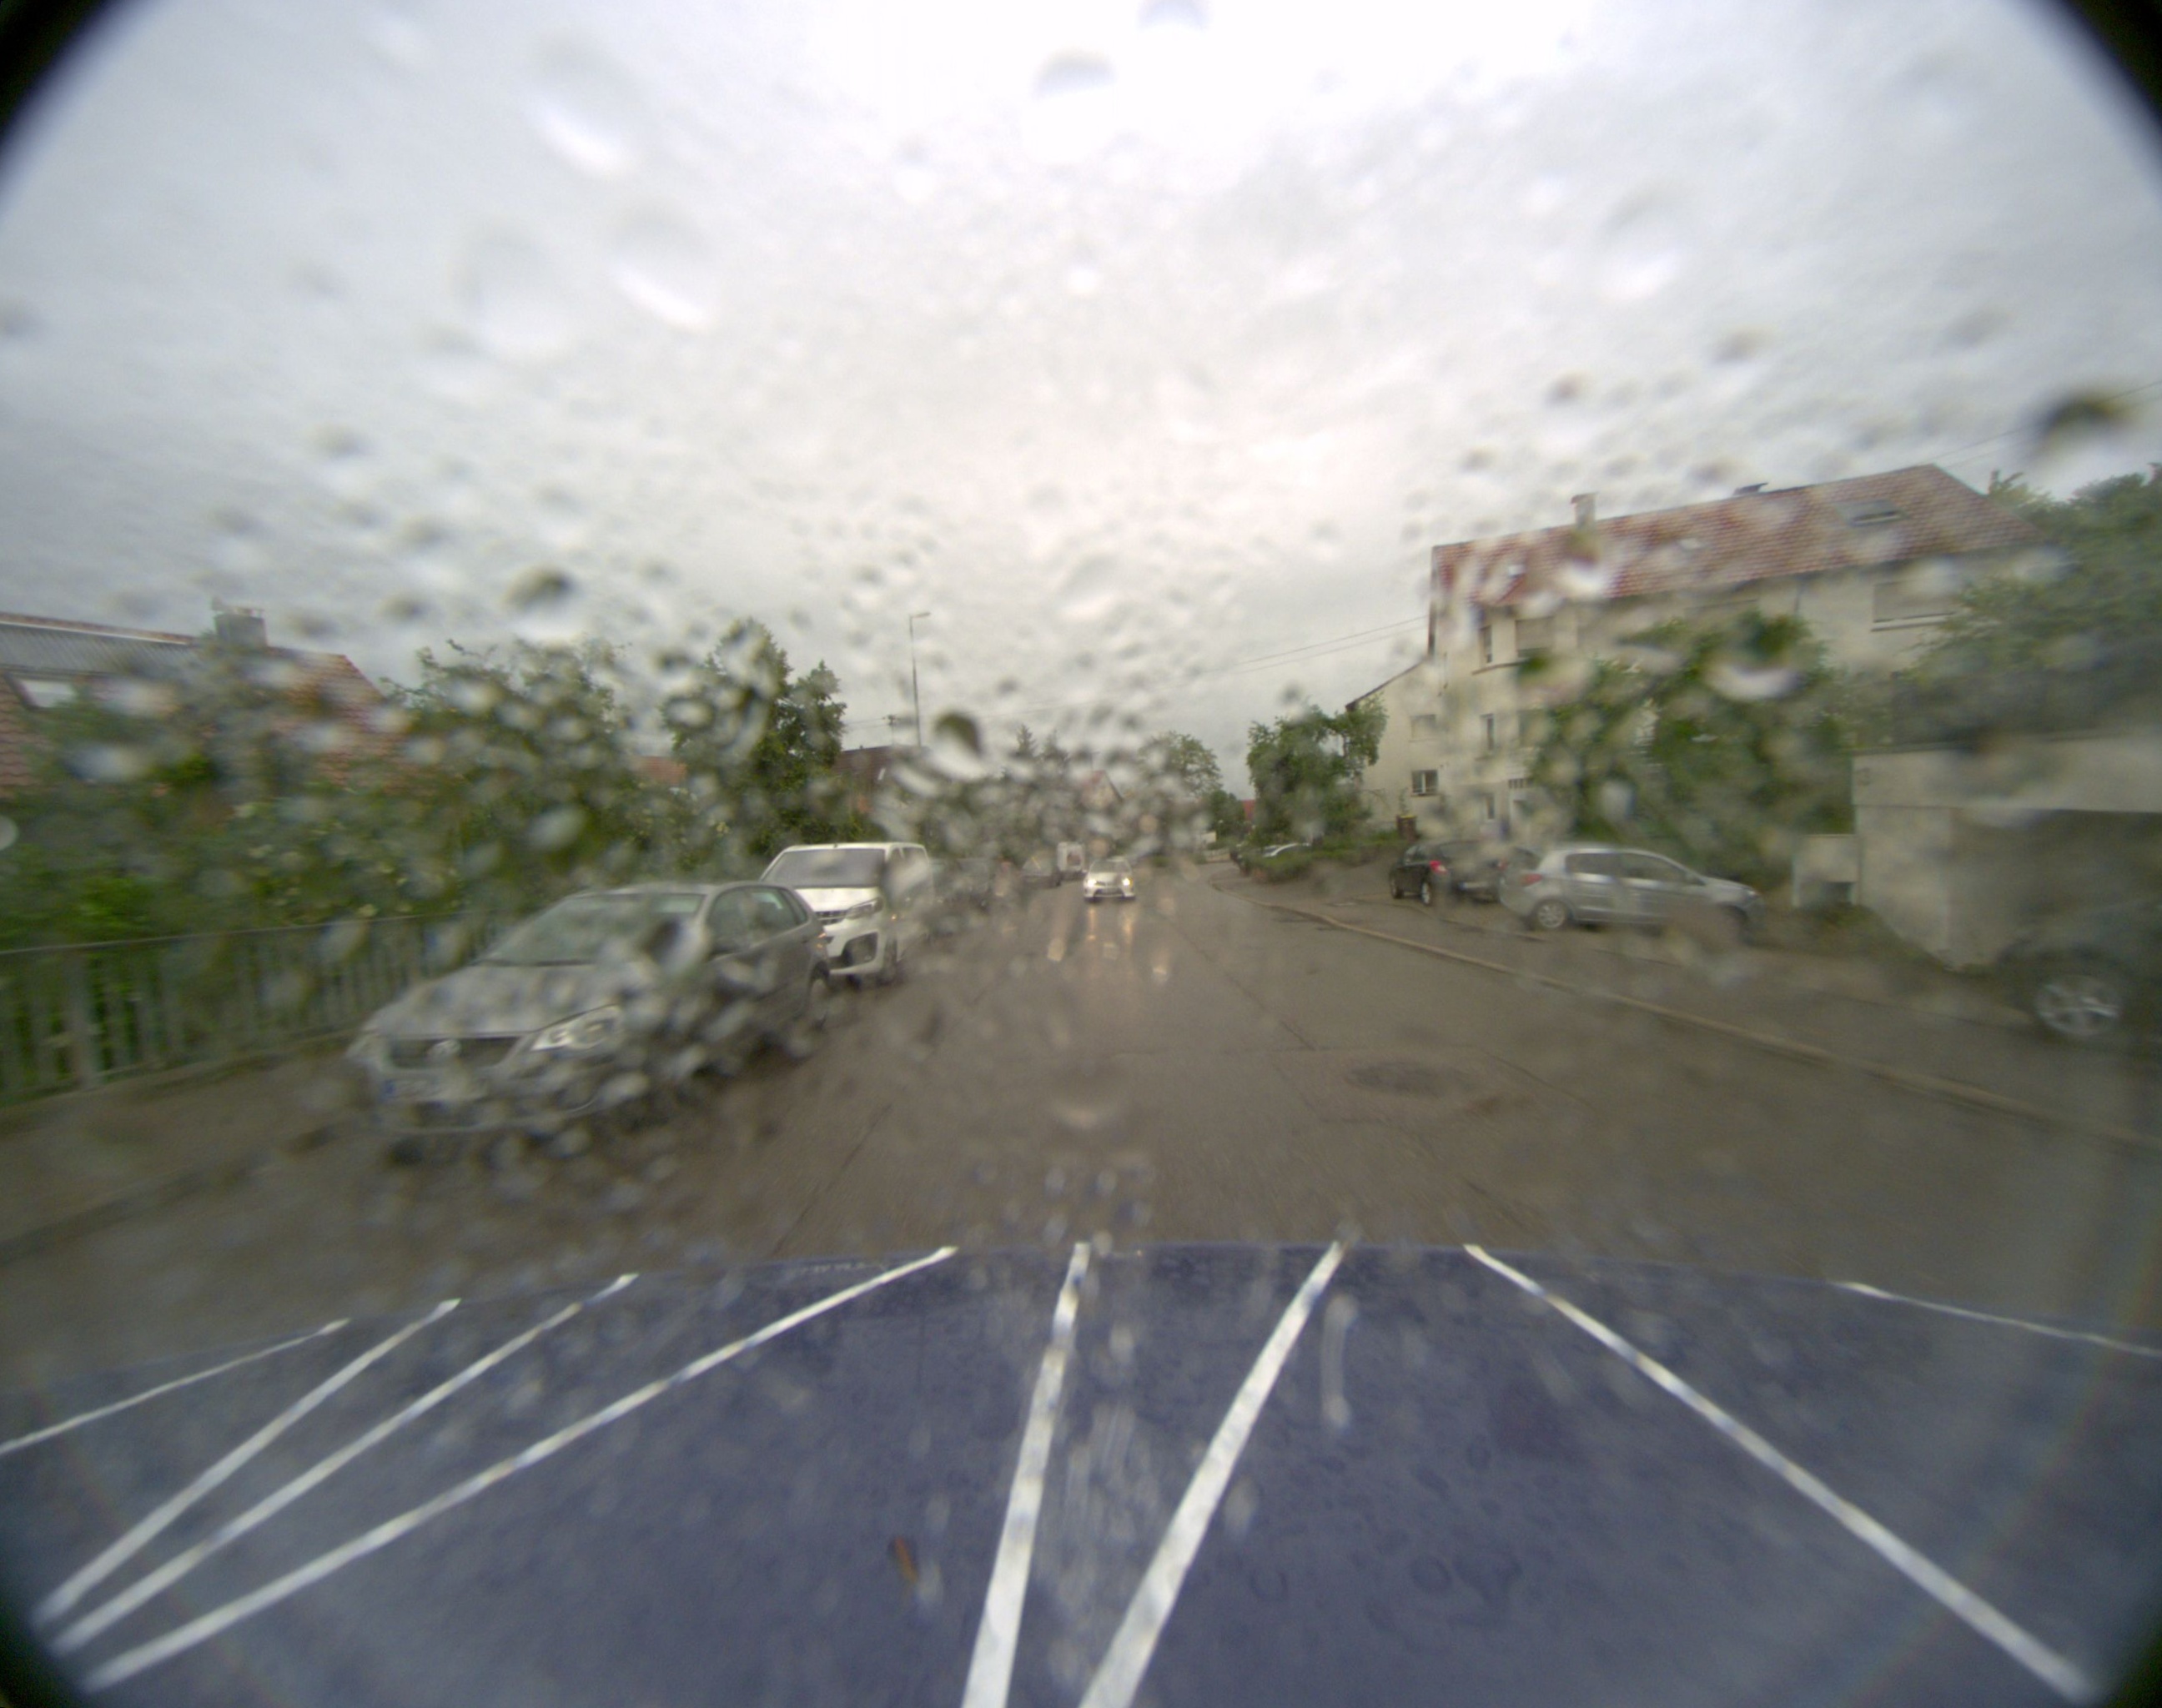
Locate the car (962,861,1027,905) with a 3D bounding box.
[{"bbox_3d":[-3.090,1.019,27.946,1.739,1.406,3.852,-1,1,3],"label":"car"}]

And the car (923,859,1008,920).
[{"bbox_3d":[-3.293,0.955,22.626,1.820,1.498,4.723,-1,1,-1],"label":"car"}]

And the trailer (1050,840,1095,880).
[{"bbox_3d":[-0.481,0.337,50.372,1.952,2.442,5.438,-1,1,10],"label":"trailer"}]

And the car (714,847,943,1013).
[{"bbox_3d":[-3.375,0.861,11.279,1.854,1.871,4.909,-1,1,-2],"label":"car"}]

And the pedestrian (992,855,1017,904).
[{"bbox_3d":[-2.566,0.849,25.554,0.718,1.625,0.707,-2,1,2],"label":"pedestrian"}]

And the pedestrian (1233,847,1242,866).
[{"bbox_3d":[13.962,0.204,67.803,0.657,1.639,0.733,-2,-1,12],"label":"pedestrian"}]

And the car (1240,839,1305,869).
[{"bbox_3d":[14.467,0.013,57.354,4.517,1.604,1.934,-8,-1,15],"label":"car"}]

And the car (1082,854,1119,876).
[{"bbox_3d":[1.481,0.799,56.164,1.750,1.416,4.708,-1,1,13],"label":"car"}]

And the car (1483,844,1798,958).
[{"bbox_3d":[9.240,0.708,12.941,3.831,1.469,1.805,4,2,15],"label":"car"}]

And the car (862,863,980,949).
[{"bbox_3d":[-3.418,1.043,16.999,1.649,1.532,4.353,-1,1,0],"label":"car"}]

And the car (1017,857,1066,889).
[{"bbox_3d":[-1.978,0.939,39.435,1.796,1.451,4.790,-1,0,6],"label":"car"}]

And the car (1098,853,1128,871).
[{"bbox_3d":[2.764,0.681,64.609,1.635,1.448,3.705,-1,1,17],"label":"car"}]

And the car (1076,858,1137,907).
[{"bbox_3d":[0.937,0.910,26.045,1.862,1.370,4.181,-3,1,4],"label":"car"}]

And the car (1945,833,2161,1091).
[{"bbox_3d":[7.618,0.672,3.706,1.807,1.588,4.417,-1,1,0],"label":"car"}]

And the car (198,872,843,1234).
[{"bbox_3d":[-3.263,0.994,5.564,1.652,1.554,3.963,-1,1,2],"label":"car"}]

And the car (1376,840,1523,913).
[{"bbox_3d":[8.458,0.437,17.869,1.769,1.368,4.249,-5,0,7],"label":"car"}]

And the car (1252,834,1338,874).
[{"bbox_3d":[11.842,0.022,42.017,4.258,1.423,1.768,-11,-2,21],"label":"car"}]
